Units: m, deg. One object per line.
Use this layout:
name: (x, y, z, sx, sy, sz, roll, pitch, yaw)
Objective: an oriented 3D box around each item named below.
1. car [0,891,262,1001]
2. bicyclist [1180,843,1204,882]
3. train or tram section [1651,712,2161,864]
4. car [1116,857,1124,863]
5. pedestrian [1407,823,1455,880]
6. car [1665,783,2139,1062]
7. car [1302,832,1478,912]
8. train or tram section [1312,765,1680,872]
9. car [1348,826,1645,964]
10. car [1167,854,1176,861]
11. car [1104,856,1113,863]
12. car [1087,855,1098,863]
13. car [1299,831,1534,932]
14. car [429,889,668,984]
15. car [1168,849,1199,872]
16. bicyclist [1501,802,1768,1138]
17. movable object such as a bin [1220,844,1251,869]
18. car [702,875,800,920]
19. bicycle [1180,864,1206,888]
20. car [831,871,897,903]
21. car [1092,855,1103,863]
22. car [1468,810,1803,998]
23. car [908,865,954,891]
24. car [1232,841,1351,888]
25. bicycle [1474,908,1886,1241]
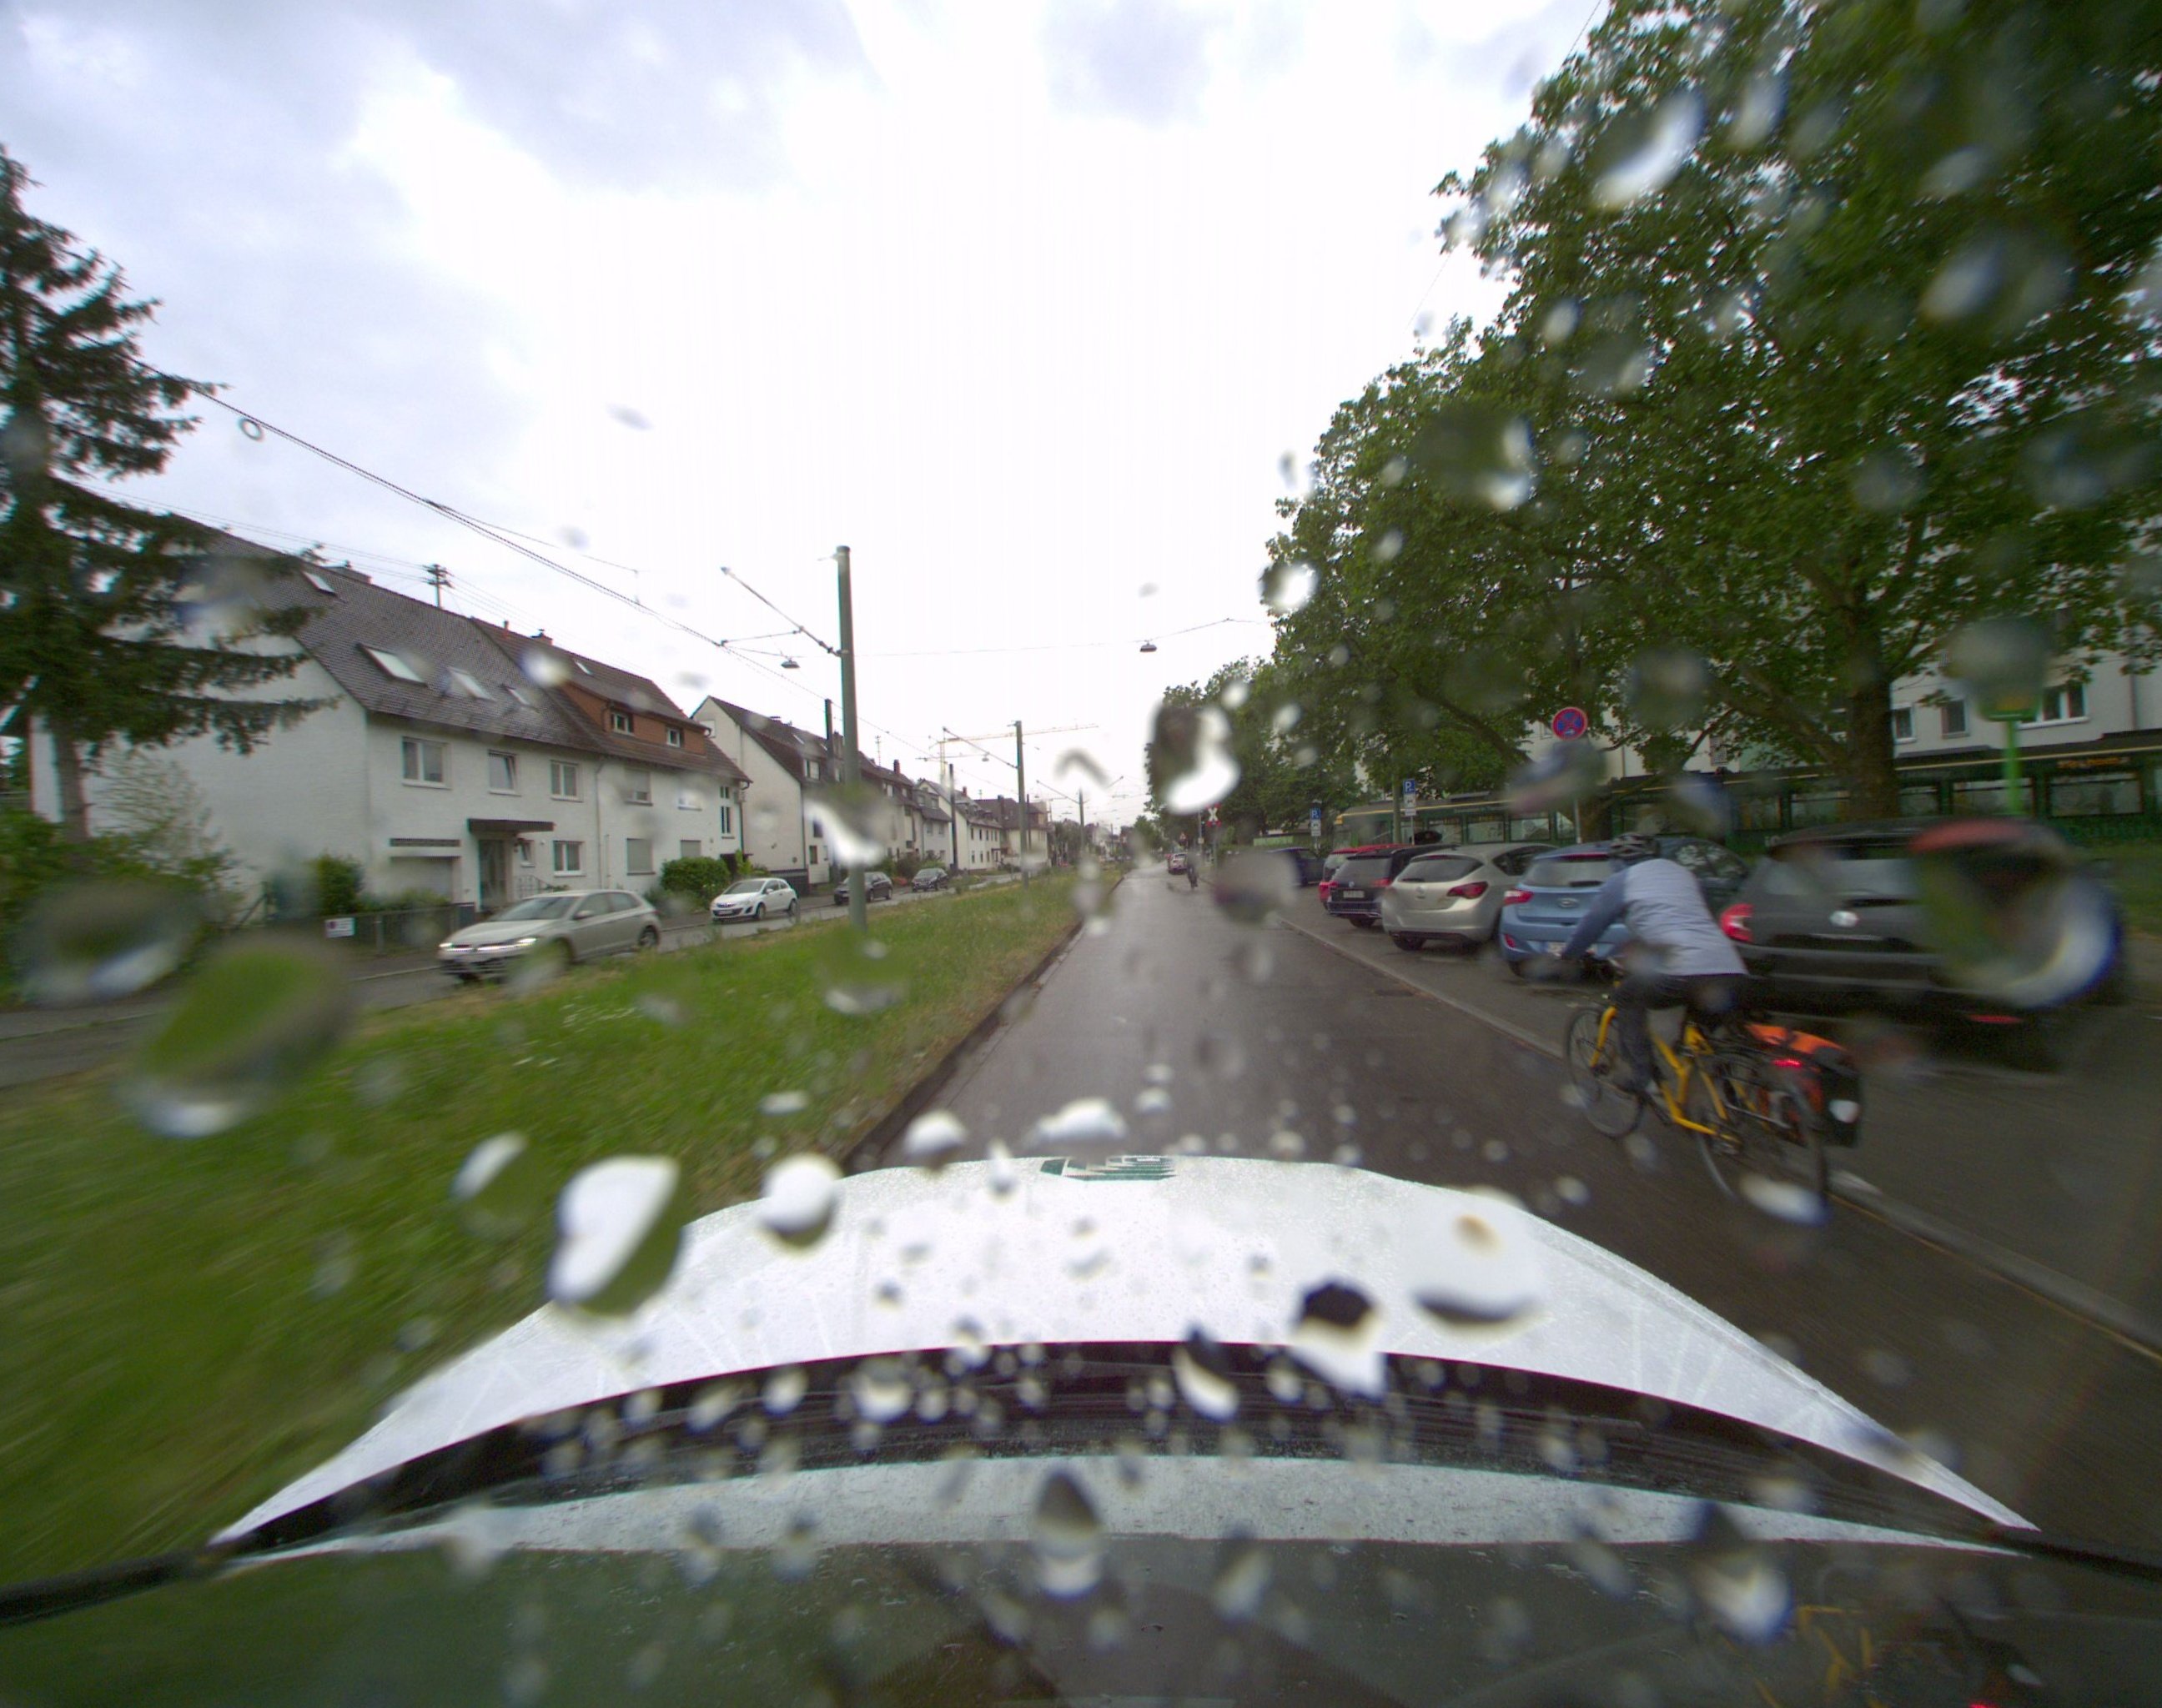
car: (-19.723, 1.761, 16.531, 1.985, 1.564, 3.900, -2, 3, 4)
bicyclist: (4.629, 0.378, 34.013, 0.828, 1.558, 0.914, -4, -1, 1)
train or tram section: (26.225, -1.706, 24.500, 2.728, 3.590, 14.567, -1, -2, -38)
car: (11.161, 1.645, 234.398, 1.983, 1.544, 4.006, -3, -2, 6)
pedestrian: (11.233, -0.083, 26.202, 1.040, 1.714, 1.081, -4, -1, 4)
car: (6.398, 0.359, 6.296, 3.529, 1.506, 1.736, -5, -1, -32)
car: (7.150, 0.383, 18.855, 3.602, 1.480, 1.625, -5, 0, -22)
train or tram section: (17.207, -1.177, 35.926, 2.728, 3.590, 14.567, -1, -2, -38)
car: (6.185, 0.536, 12.080, 4.012, 1.553, 1.942, -4, -1, -30)
car: (21.615, 0.775, 194.728, 1.984, 1.492, 4.005, -3, -2, 5)
car: (7.030, 1.511, 208.641, 1.983, 1.544, 4.006, -3, -2, 6)
car: (2.556, 1.112, 176.920, 1.983, 1.544, 4.006, -3, -2, 6)
car: (6.407, 0.464, 15.483, 4.133, 1.480, 1.849, -5, 0, -28)
car: (-9.520, 1.402, 14.957, 1.593, 1.424, 3.825, -3, -2, 5)
car: (7.658, 0.514, 61.082, 1.946, 1.553, 4.003, -5, -1, 3)
bicyclist: (2.695, 0.519, 4.075, 0.747, 1.485, 0.848, -3, 1, 6)
movable object such as a bin: (11.128, 0.168, 58.647, 1.554, 1.704, 1.491, -3, -1, -19)
car: (-11.726, 1.520, 29.241, 1.593, 1.424, 3.948, -3, -2, 5)
bicycle: (4.662, 0.900, 33.910, 0.818, 0.912, 1.986, -4, -1, 2)
car: (-10.685, 1.639, 40.416, 1.593, 1.424, 4.672, -3, -2, 5)
car: (3.777, 1.092, 183.568, 1.983, 1.705, 4.006, -3, -2, 6)
car: (6.426, 0.446, 9.311, 4.019, 1.500, 1.804, -6, 0, -36)
car: (-9.733, 1.562, 52.973, 1.868, 1.503, 4.138, -3, -2, 4)
car: (7.951, 0.347, 30.770, 4.010, 1.483, 1.982, -4, 1, -27)
bicycle: (2.713, 0.903, 4.027, 0.749, 1.072, 1.931, -3, 1, 7)
